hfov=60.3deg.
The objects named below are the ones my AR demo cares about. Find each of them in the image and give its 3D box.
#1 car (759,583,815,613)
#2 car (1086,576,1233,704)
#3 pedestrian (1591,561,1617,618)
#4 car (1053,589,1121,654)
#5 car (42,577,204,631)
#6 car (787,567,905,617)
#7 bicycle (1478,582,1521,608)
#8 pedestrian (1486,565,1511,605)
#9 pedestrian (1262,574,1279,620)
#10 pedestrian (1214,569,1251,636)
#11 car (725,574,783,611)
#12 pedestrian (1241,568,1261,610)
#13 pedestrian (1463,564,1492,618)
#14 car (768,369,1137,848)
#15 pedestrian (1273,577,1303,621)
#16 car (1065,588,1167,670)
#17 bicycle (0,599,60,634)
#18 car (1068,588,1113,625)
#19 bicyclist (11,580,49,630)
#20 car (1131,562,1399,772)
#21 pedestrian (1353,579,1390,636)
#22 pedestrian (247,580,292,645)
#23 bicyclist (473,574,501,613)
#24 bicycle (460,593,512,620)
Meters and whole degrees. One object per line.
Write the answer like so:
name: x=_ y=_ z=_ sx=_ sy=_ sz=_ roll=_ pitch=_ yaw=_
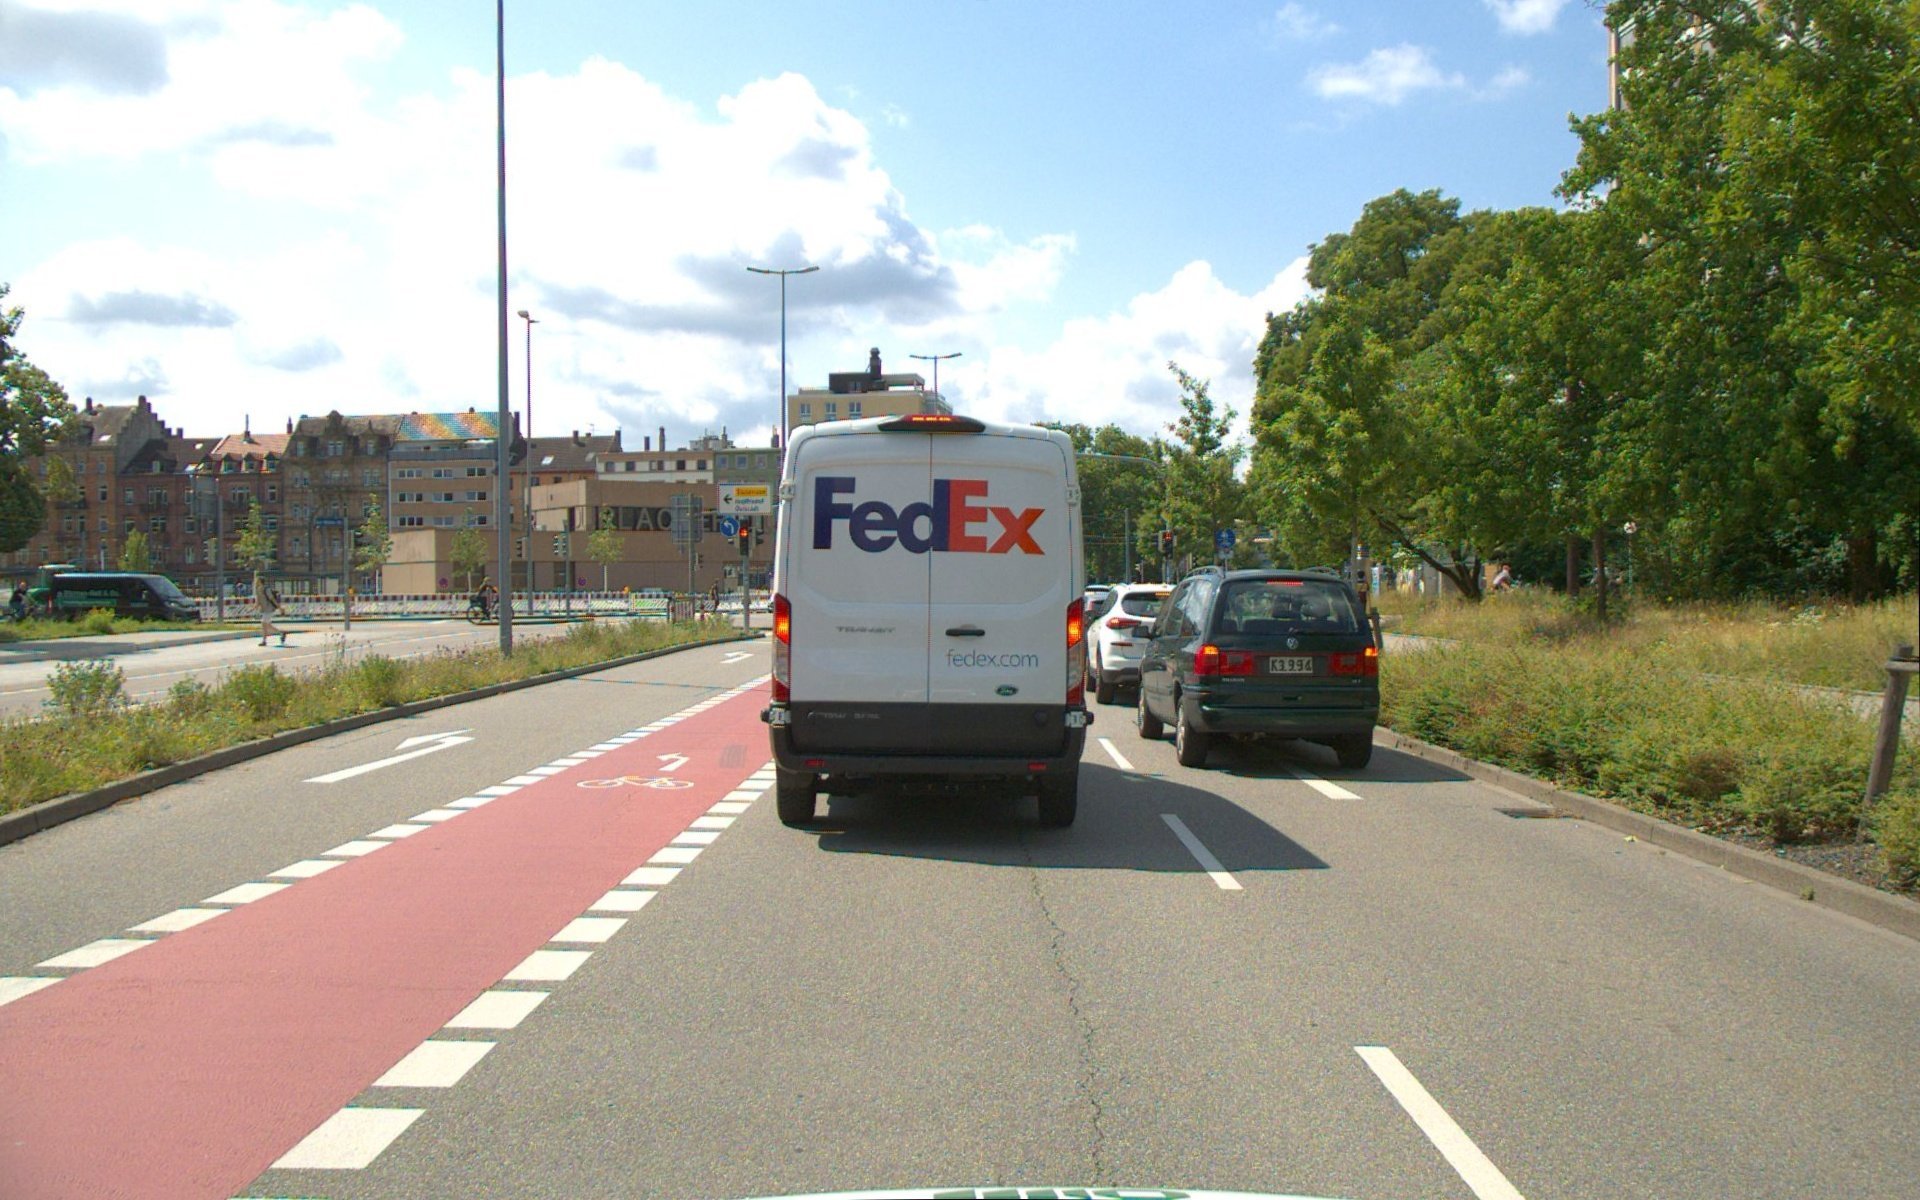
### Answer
car: x=-9.737 y=-0.106 z=93.324 sx=1.860 sy=1.613 sz=4.003 roll=-1 pitch=0 yaw=14
car: x=2.826 y=0.511 z=24.157 sx=1.760 sy=1.717 sz=4.001 roll=0 pitch=1 yaw=2
pedestrian: x=23.843 y=-0.398 z=61.205 sx=0.828 sy=2.094 sz=0.740 roll=0 pitch=0 yaw=28
car: x=3.008 y=0.474 z=39.613 sx=1.454 sy=1.453 sz=3.433 roll=0 pitch=1 yaw=2
car: x=-30.897 y=0.128 z=61.159 sx=4.909 sy=1.911 sz=1.927 roll=-1 pitch=1 yaw=-4
car: x=-4.831 y=-0.346 z=69.880 sx=4.567 sy=2.049 sz=2.084 roll=-1 pitch=0 yaw=-24
bicycle: x=20.293 y=-0.202 z=62.178 sx=1.537 sy=0.972 sz=0.486 roll=0 pitch=0 yaw=19
pedestrian: x=20.242 y=-0.553 z=62.184 sx=0.880 sy=1.497 sz=0.486 roll=0 pitch=0 yaw=19
pedestrian: x=13.105 y=-0.144 z=69.784 sx=0.562 sy=1.925 sz=0.679 roll=0 pitch=0 yaw=-1
pedestrian: x=7.846 y=0.069 z=47.683 sx=0.931 sy=1.925 sz=0.774 roll=0 pitch=0 yaw=-1
car: x=-11.777 y=-0.443 z=94.678 sx=1.951 sy=2.049 sz=4.003 roll=-1 pitch=0 yaw=14
pedestrian: x=13.335 y=-0.504 z=75.758 sx=0.668 sy=1.925 sz=0.572 roll=0 pitch=1 yaw=44
pedestrian: x=19.919 y=-0.352 z=63.700 sx=0.726 sy=2.094 sz=0.844 roll=-1 pitch=0 yaw=-17
car: x=-0.241 y=0.035 z=12.240 sx=2.098 sy=2.699 sz=5.699 roll=0 pitch=0 yaw=-4
pedestrian: x=10.620 y=-0.050 z=53.589 sx=0.827 sy=1.413 sz=0.741 roll=0 pitch=0 yaw=-1
car: x=3.027 y=0.522 z=32.669 sx=1.760 sy=1.486 sz=3.839 roll=0 pitch=1 yaw=2
bicycle: x=-35.791 y=0.638 z=63.533 sx=2.025 sy=1.312 sz=0.603 roll=-1 pitch=0 yaw=-8
car: x=6.656 y=0.319 z=84.077 sx=1.951 sy=1.825 sz=4.375 roll=-1 pitch=0 yaw=9
bicyclist: x=-35.777 y=0.187 z=63.607 sx=1.098 sy=1.877 sz=0.592 roll=-1 pitch=1 yaw=-8
car: x=2.797 y=0.541 z=16.141 sx=1.775 sy=1.764 sz=4.388 roll=0 pitch=1 yaw=0
pedestrian: x=11.491 y=0.212 z=46.235 sx=0.827 sy=1.565 sz=0.835 roll=0 pitch=0 yaw=-1
pedestrian: x=-17.240 y=0.306 z=41.286 sx=0.545 sy=1.587 sz=0.871 roll=0 pitch=1 yaw=42
bicyclist: x=-18.526 y=-0.247 z=64.798 sx=0.949 sy=1.500 sz=0.550 roll=-1 pitch=0 yaw=-8
bicycle: x=-18.578 y=0.241 z=64.807 sx=1.884 sy=1.048 sz=0.547 roll=0 pitch=0 yaw=-8
